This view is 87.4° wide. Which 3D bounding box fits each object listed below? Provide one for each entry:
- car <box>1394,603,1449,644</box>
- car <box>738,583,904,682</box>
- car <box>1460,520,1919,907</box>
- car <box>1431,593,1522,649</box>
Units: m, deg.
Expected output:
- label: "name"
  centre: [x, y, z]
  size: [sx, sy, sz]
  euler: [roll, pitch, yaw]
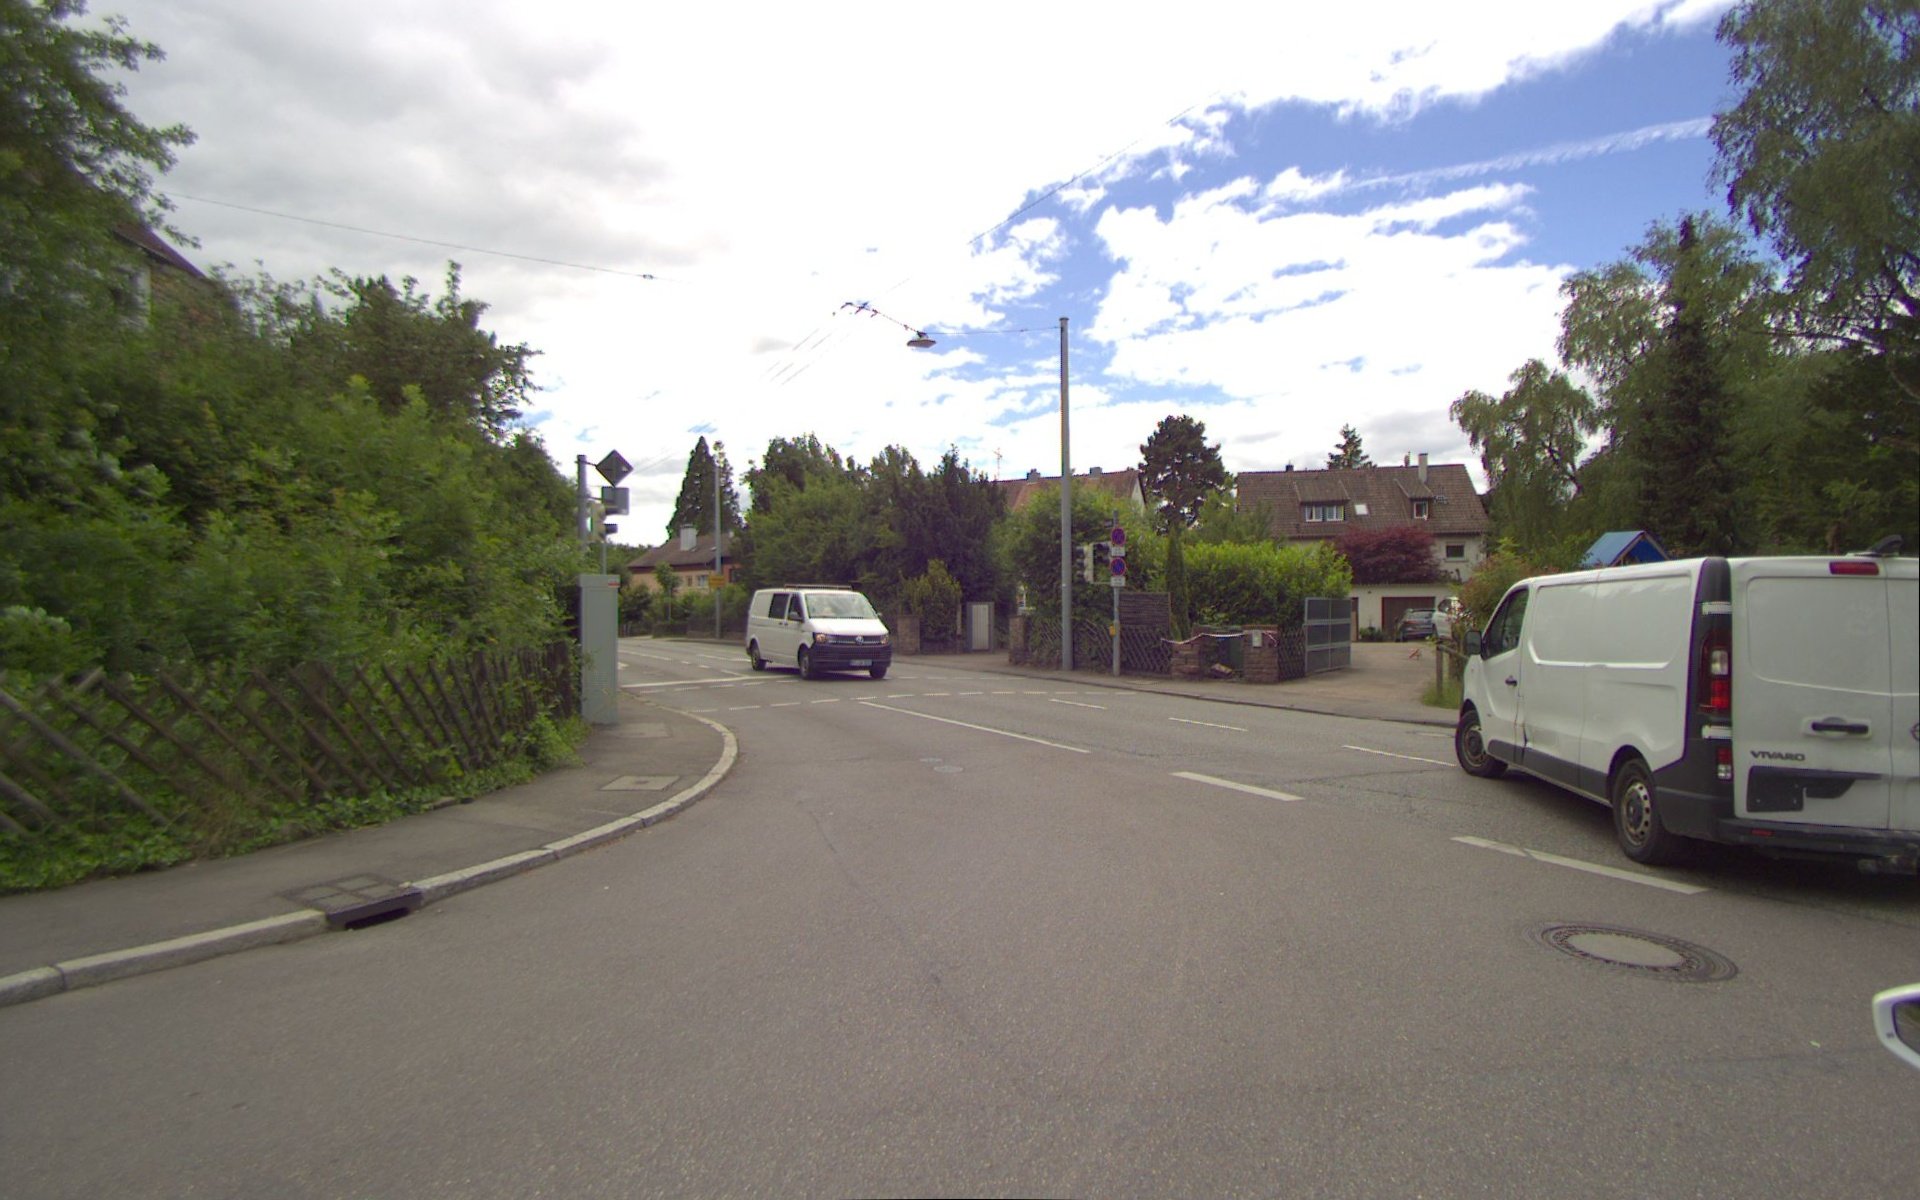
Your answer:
- label: "car"
  centre: [20.094, 0.999, 43.875]
  size: [1.961, 1.680, 4.341]
  euler: [-1, -1, 23]
- label: "car"
  centre: [-3.334, 0.666, 23.073]
  size: [1.977, 2.005, 5.157]
  euler: [0, 0, -30]
- label: "car"
  centre: [5.499, 0.610, 7.680]
  size: [1.884, 2.080, 4.616]
  euler: [1, 0, 12]
- label: "car"
  centre: [17.220, 0.676, 33.712]
  size: [1.960, 1.680, 4.344]
  euler: [1, 0, 17]
